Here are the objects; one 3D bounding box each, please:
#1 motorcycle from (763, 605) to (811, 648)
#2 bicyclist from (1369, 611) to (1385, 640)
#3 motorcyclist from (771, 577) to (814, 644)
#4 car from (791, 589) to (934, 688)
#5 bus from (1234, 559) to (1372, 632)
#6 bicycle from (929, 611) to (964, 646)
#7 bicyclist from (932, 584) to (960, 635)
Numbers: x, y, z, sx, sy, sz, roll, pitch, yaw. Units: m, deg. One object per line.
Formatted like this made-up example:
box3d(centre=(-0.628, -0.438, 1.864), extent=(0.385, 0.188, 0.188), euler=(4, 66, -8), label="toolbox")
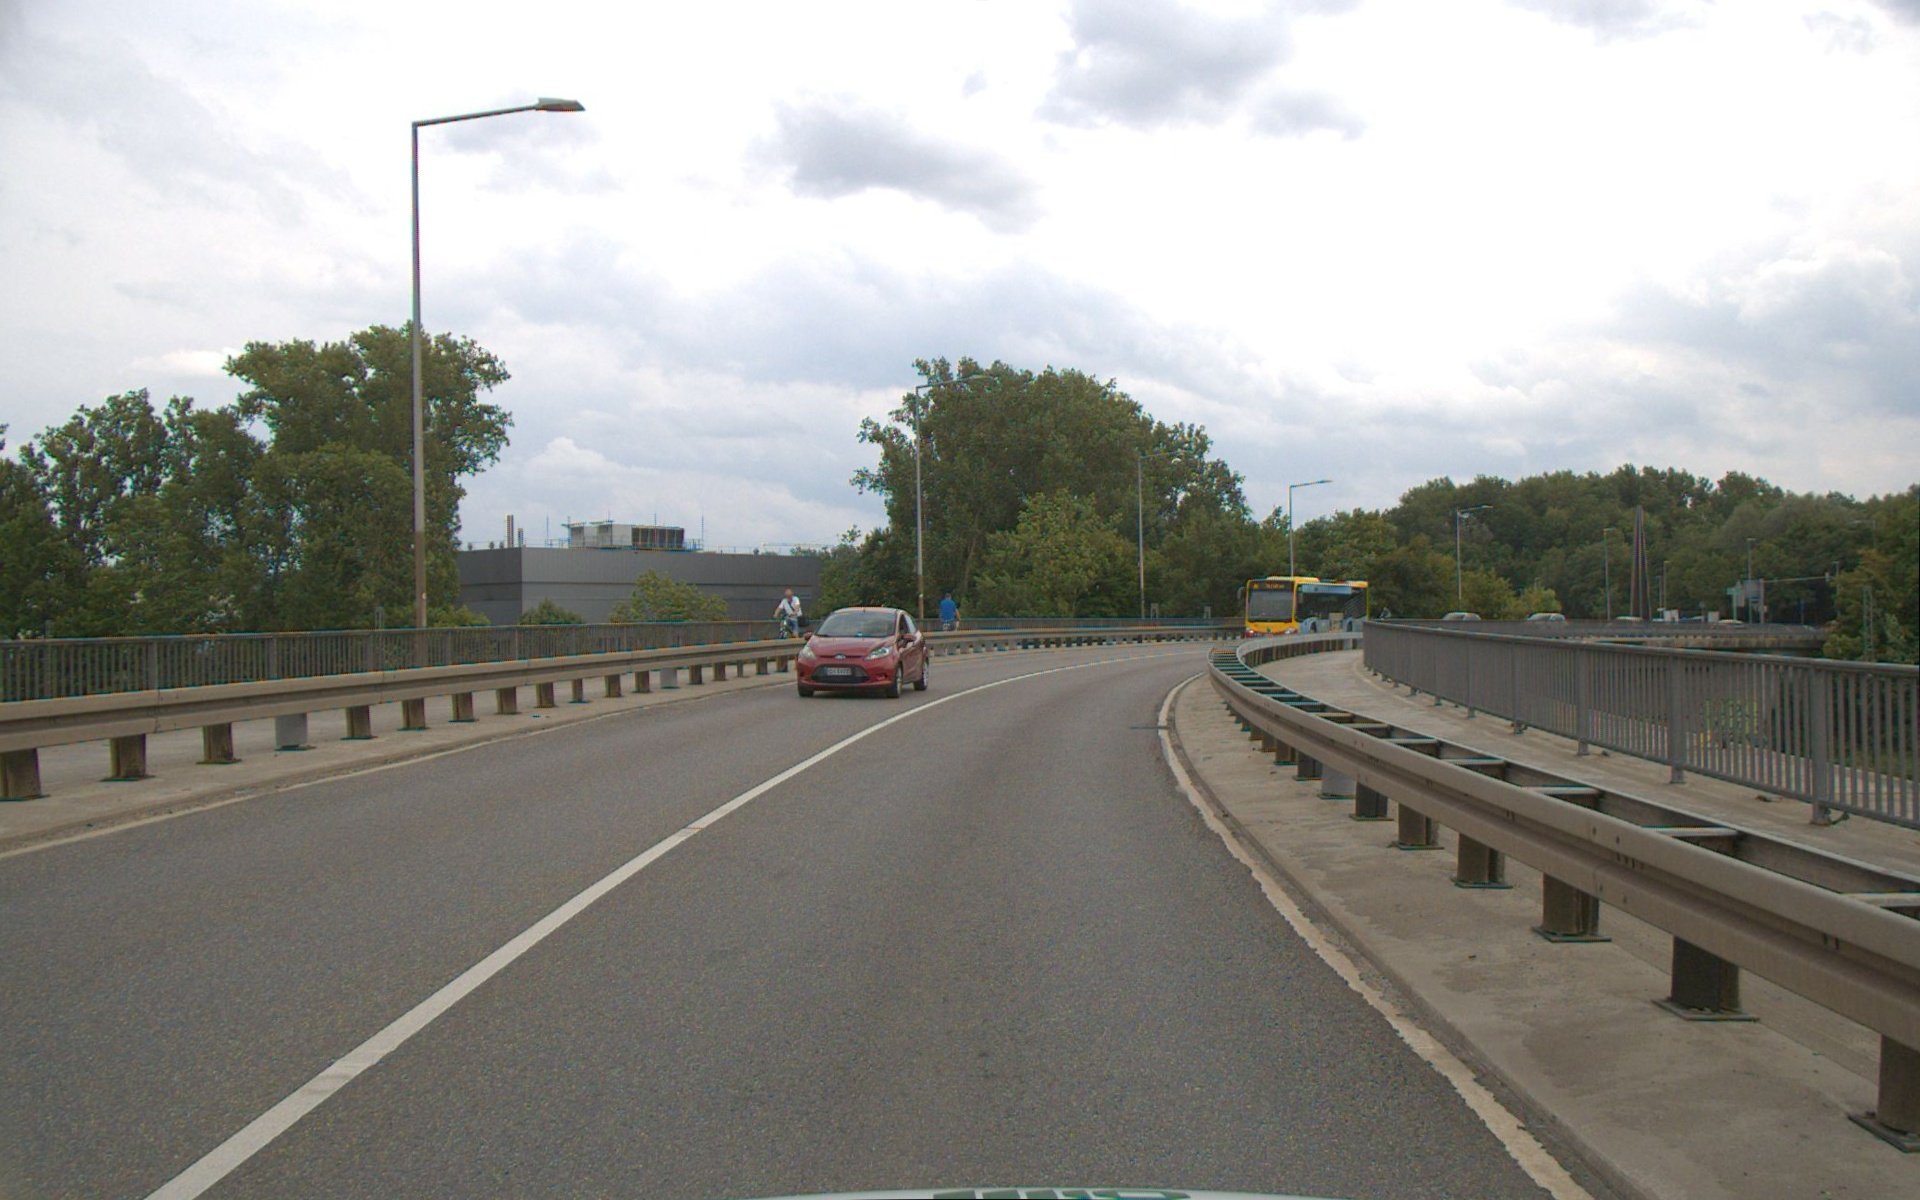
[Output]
box3d(centre=(-3.985, 0.620, 38.277), extent=(0.612, 0.980, 1.841), euler=(0, -1, 10), label="motorcycle")
box3d(centre=(26.399, 1.599, 104.639), extent=(0.832, 1.840, 0.796), euler=(0, -1, 27), label="bicyclist")
box3d(centre=(-3.912, 0.249, 38.607), extent=(0.792, 1.556, 0.825), euler=(0, -1, 8), label="motorcyclist")
box3d(centre=(-1.555, 0.639, 27.841), extent=(1.722, 1.518, 4.002), euler=(0, -1, 6), label="car")
box3d(centre=(17.103, -0.092, 81.486), extent=(2.975, 3.290, 12.927), euler=(0, -1, 29), label="bus")
box3d(centre=(-0.406, 0.891, 51.424), extent=(0.482, 1.064, 1.810), euler=(0, -1, 20), label="bicycle")
box3d(centre=(-0.435, 0.288, 51.444), extent=(0.598, 1.567, 0.757), euler=(0, -1, 24), label="bicyclist")
